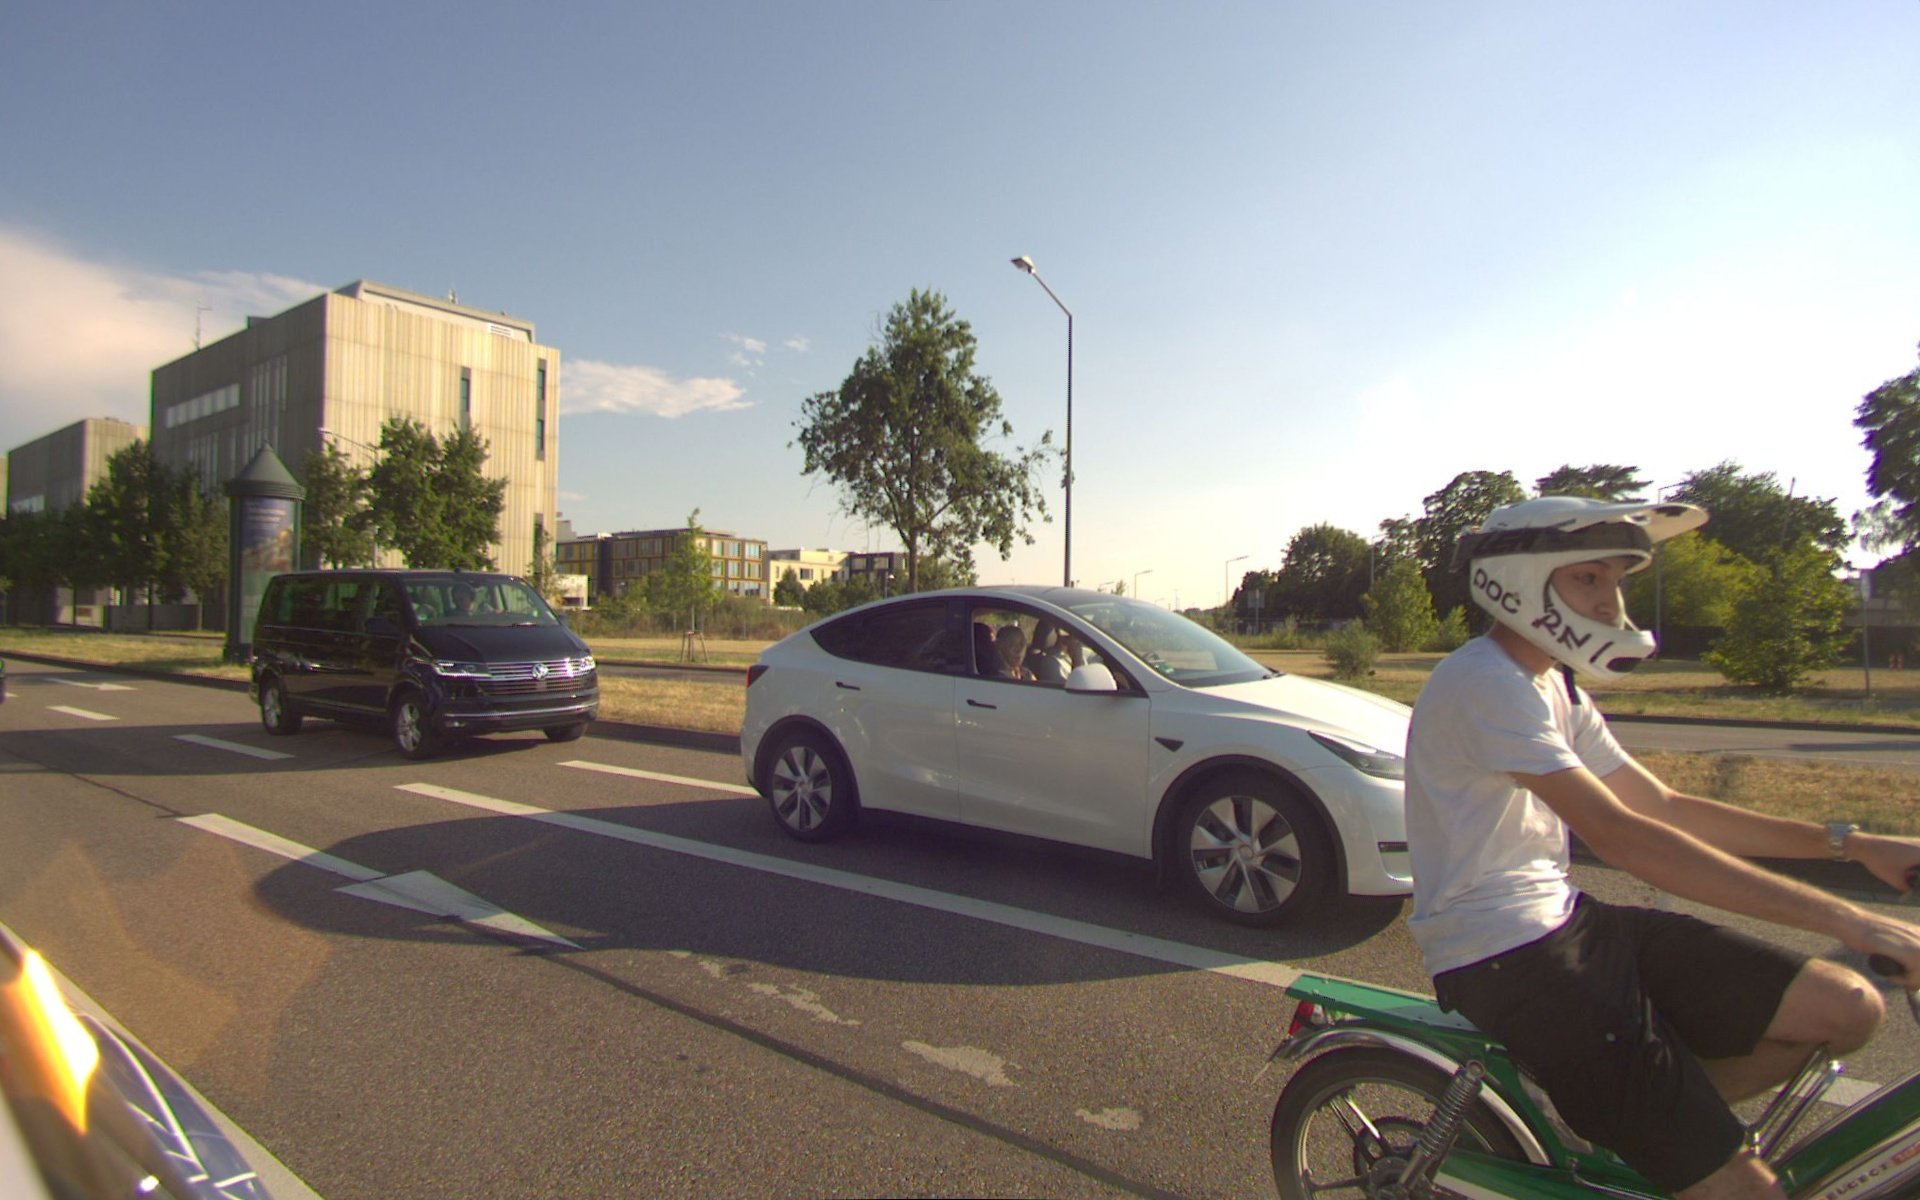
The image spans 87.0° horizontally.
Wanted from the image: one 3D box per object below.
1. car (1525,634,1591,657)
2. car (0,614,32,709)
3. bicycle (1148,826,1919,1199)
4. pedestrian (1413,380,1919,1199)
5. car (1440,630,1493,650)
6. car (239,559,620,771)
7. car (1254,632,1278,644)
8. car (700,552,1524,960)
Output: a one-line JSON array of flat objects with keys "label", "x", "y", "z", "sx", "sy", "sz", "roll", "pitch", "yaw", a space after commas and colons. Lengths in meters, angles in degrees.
[{"label": "car", "x": 42.107, "y": 3.181, "z": 71.373, "sx": 1.631, "sy": 1.537, "sz": 4.407, "roll": 0, "pitch": -2, "yaw": -6}, {"label": "car", "x": -16.646, "y": 0.974, "z": 16.399, "sx": 4.489, "sy": 1.448, "sz": 1.787, "roll": -1, "pitch": -2, "yaw": 40}, {"label": "bicycle", "x": 1.235, "y": 0.966, "z": 1.642, "sx": 1.855, "sy": 0.882, "sz": 0.472, "roll": -1, "pitch": -3, "yaw": 41}, {"label": "pedestrian", "x": 1.308, "y": 0.489, "z": 1.682, "sx": 0.854, "sy": 1.530, "sz": 0.649, "roll": -1, "pitch": -3, "yaw": 41}, {"label": "car", "x": 40.623, "y": 3.185, "z": 81.301, "sx": 1.631, "sy": 1.537, "sz": 4.407, "roll": 0, "pitch": -2, "yaw": -6}, {"label": "car", "x": -6.178, "y": 0.619, "z": 11.523, "sx": 5.003, "sy": 1.947, "sz": 1.839, "roll": -1, "pitch": -1, "yaw": 36}, {"label": "car", "x": 32.002, "y": 3.974, "z": 105.949, "sx": 1.315, "sy": 1.302, "sz": 2.810, "roll": 1, "pitch": -2, "yaw": -10}, {"label": "car", "x": 0.625, "y": 0.655, "z": 6.109, "sx": 4.669, "sy": 1.611, "sz": 1.719, "roll": -1, "pitch": -1, "yaw": 37}]
